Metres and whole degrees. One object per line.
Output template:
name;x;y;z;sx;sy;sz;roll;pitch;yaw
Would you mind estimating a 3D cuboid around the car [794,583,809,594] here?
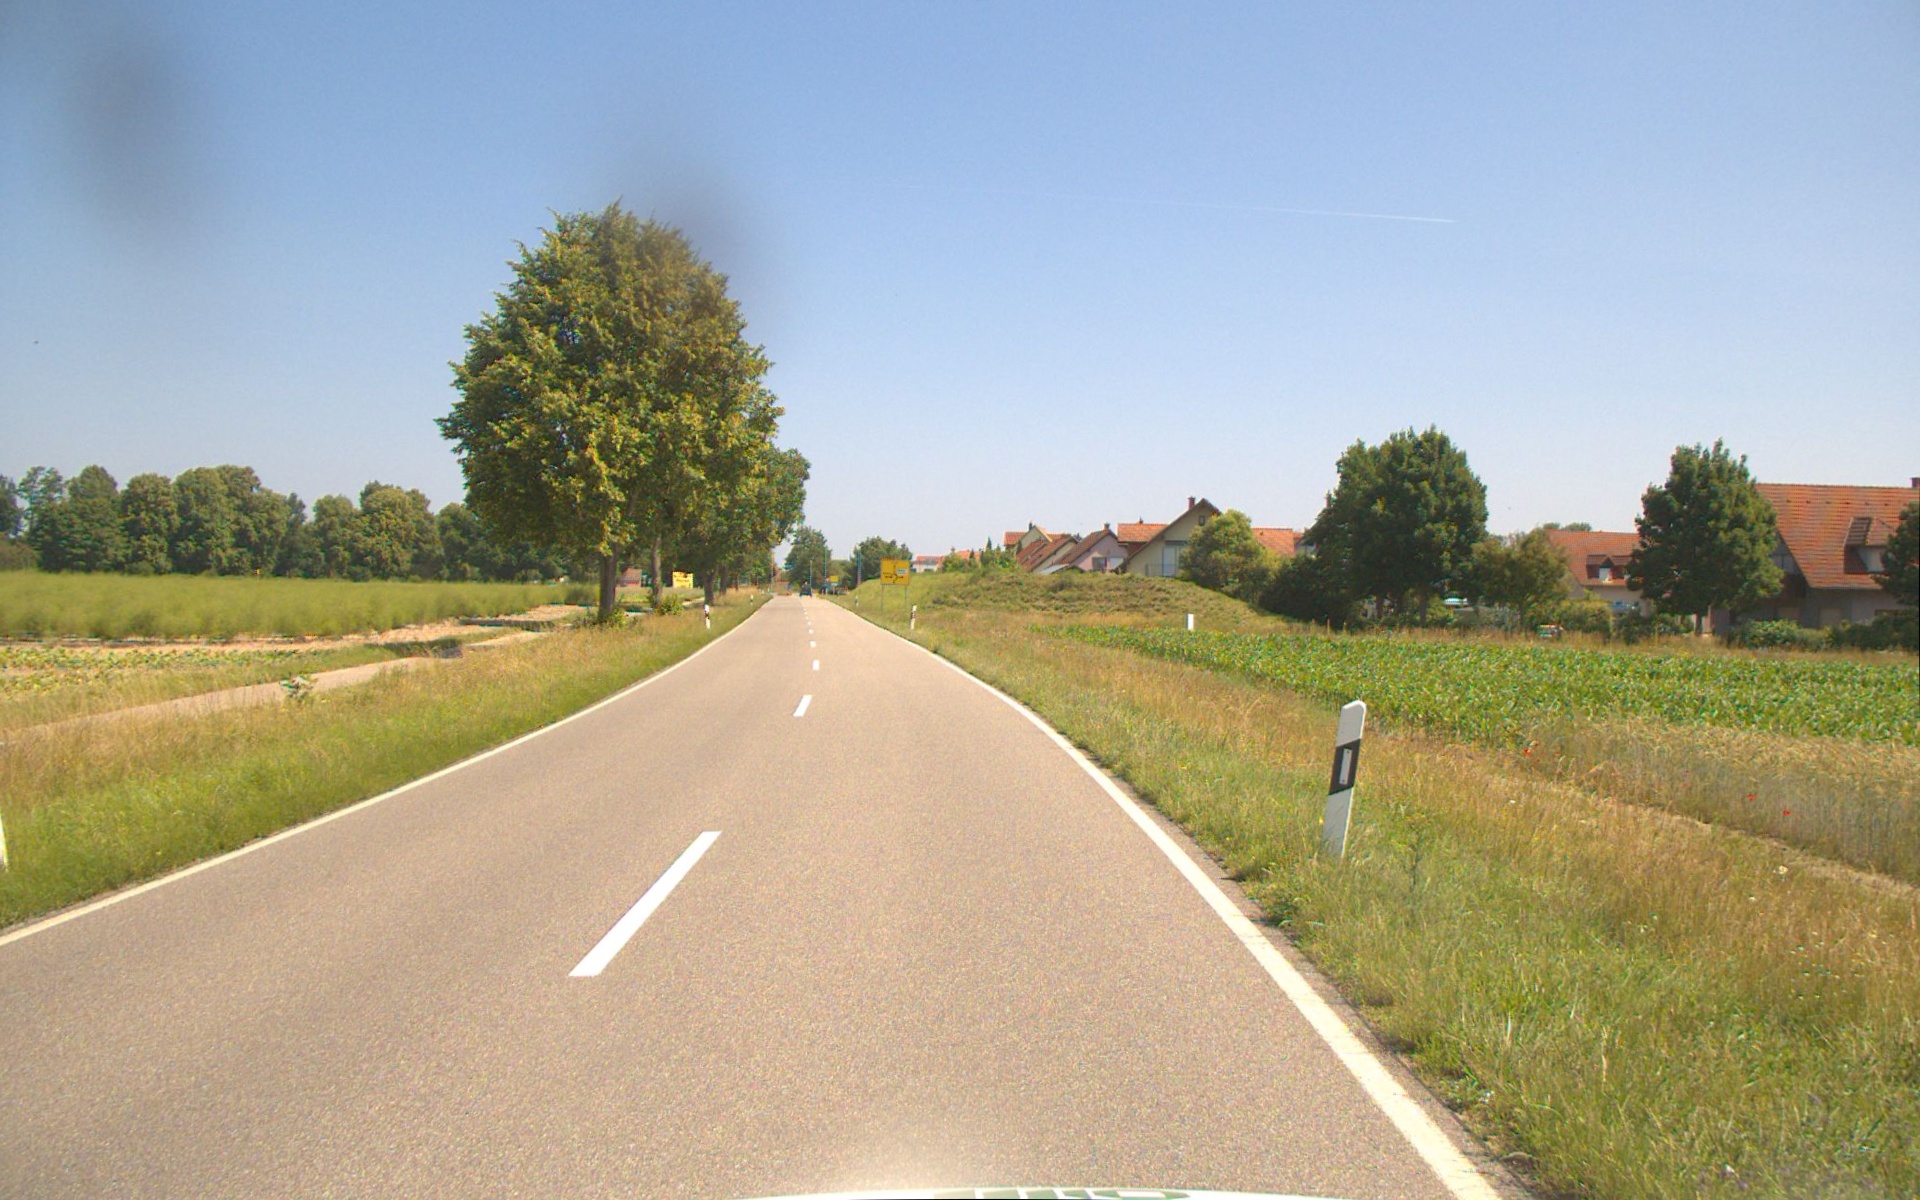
car;-22.744;-1.676;237.927;1.800;1.563;3.610;1;0;0
